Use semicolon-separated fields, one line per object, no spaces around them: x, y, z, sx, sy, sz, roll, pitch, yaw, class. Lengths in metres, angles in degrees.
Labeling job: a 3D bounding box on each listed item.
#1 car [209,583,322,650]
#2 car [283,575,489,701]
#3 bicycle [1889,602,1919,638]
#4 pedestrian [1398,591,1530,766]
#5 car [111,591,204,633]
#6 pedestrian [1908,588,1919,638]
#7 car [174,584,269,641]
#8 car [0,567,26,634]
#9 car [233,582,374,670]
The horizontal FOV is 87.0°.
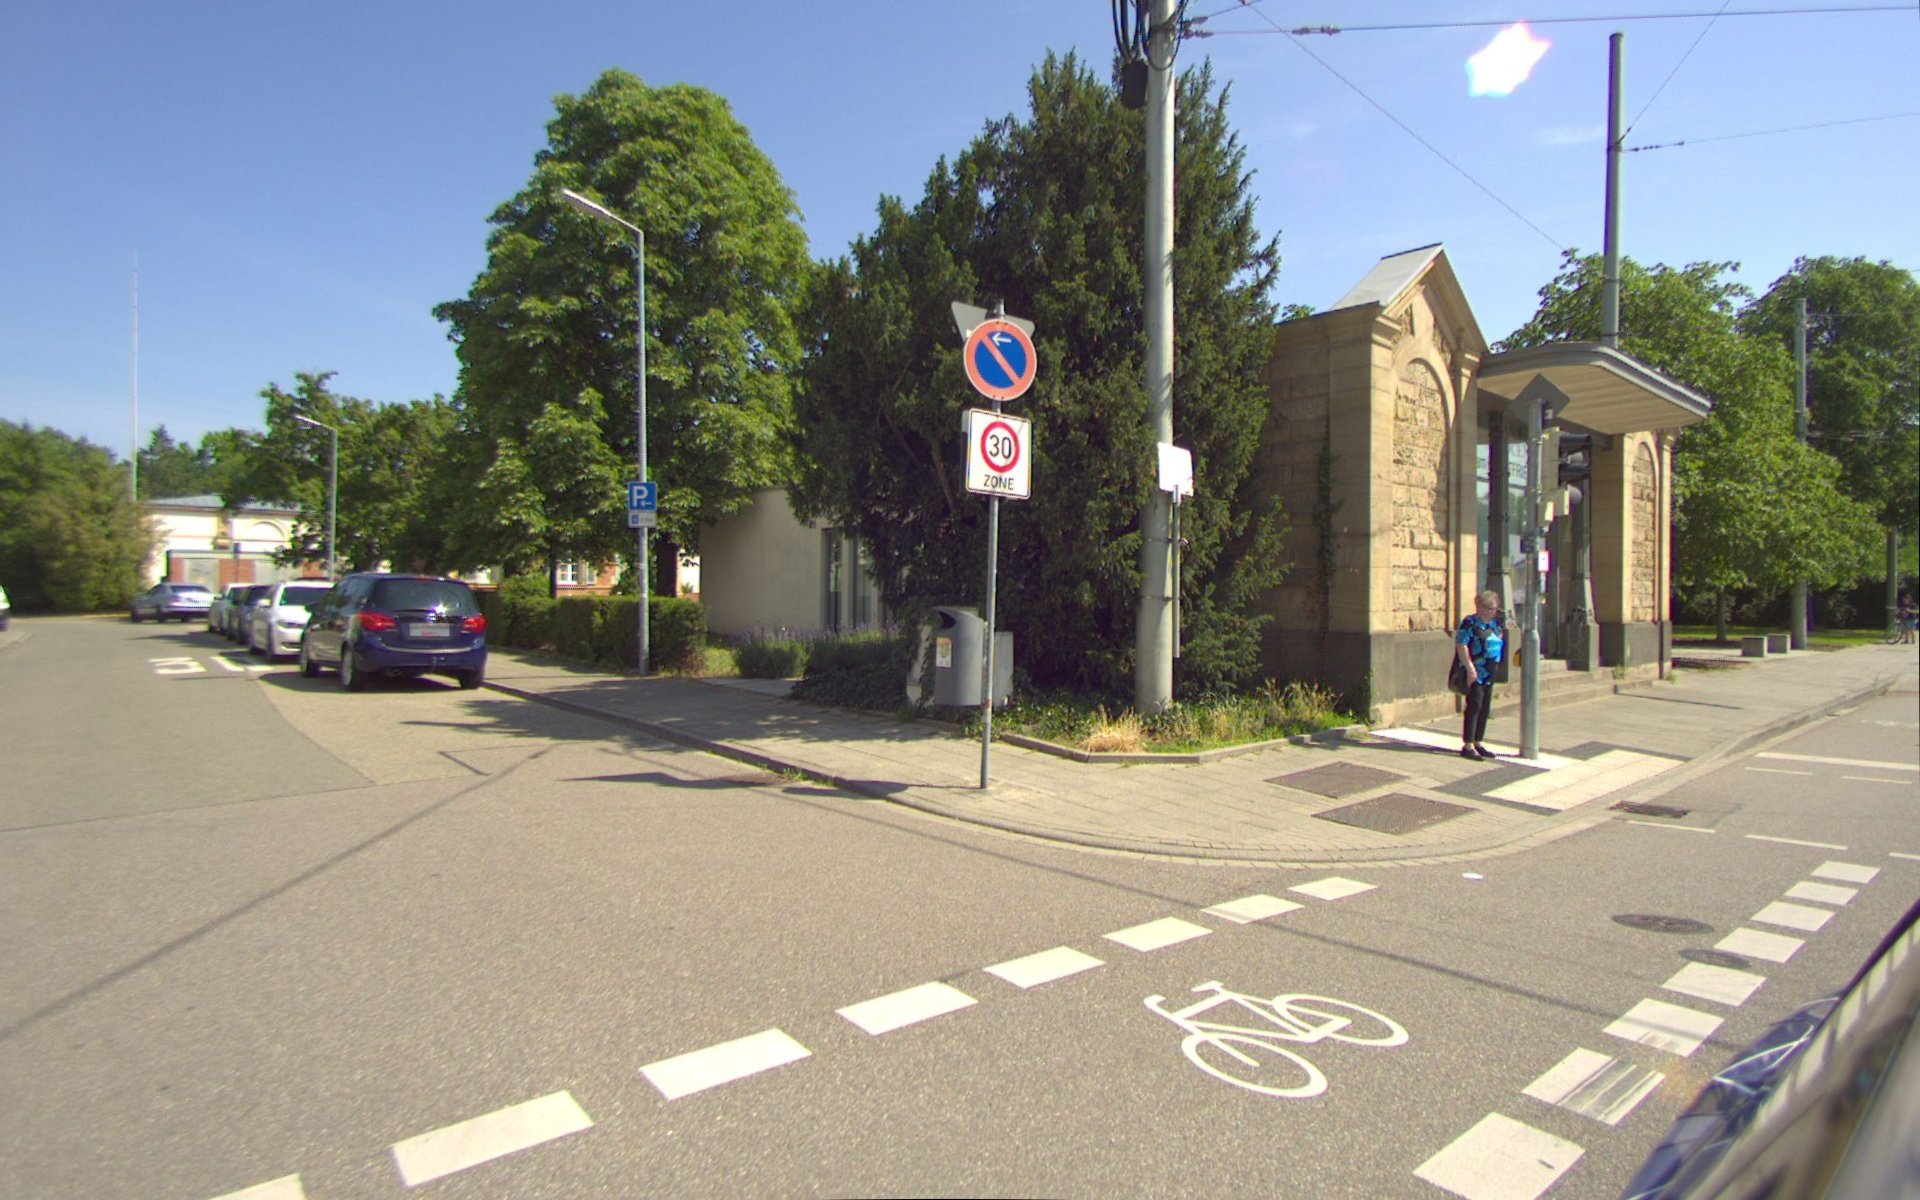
-16.748;0.350;24.334;1.710;1.470;4.061;0;0;-43;car
-8.442;0.491;14.743;1.705;1.588;3.720;3;-1;-44;car
30.499;0.629;32.491;1.771;1.125;0.538;-1;1;-32;bicycle
4.678;0.682;9.402;0.842;1.529;0.782;0;0;-33;pedestrian
-28.914;0.391;36.447;4.047;1.429;1.715;1;0;38;car
30.716;0.414;32.326;0.652;1.568;0.541;0;2;-42;pedestrian
-20.486;0.303;28.012;1.710;1.470;4.061;0;0;-43;car
-31.138;0.000;31.497;3.966;2.039;1.979;0;0;30;car
-12.428;0.414;19.039;1.545;1.470;4.317;0;0;-42;car
